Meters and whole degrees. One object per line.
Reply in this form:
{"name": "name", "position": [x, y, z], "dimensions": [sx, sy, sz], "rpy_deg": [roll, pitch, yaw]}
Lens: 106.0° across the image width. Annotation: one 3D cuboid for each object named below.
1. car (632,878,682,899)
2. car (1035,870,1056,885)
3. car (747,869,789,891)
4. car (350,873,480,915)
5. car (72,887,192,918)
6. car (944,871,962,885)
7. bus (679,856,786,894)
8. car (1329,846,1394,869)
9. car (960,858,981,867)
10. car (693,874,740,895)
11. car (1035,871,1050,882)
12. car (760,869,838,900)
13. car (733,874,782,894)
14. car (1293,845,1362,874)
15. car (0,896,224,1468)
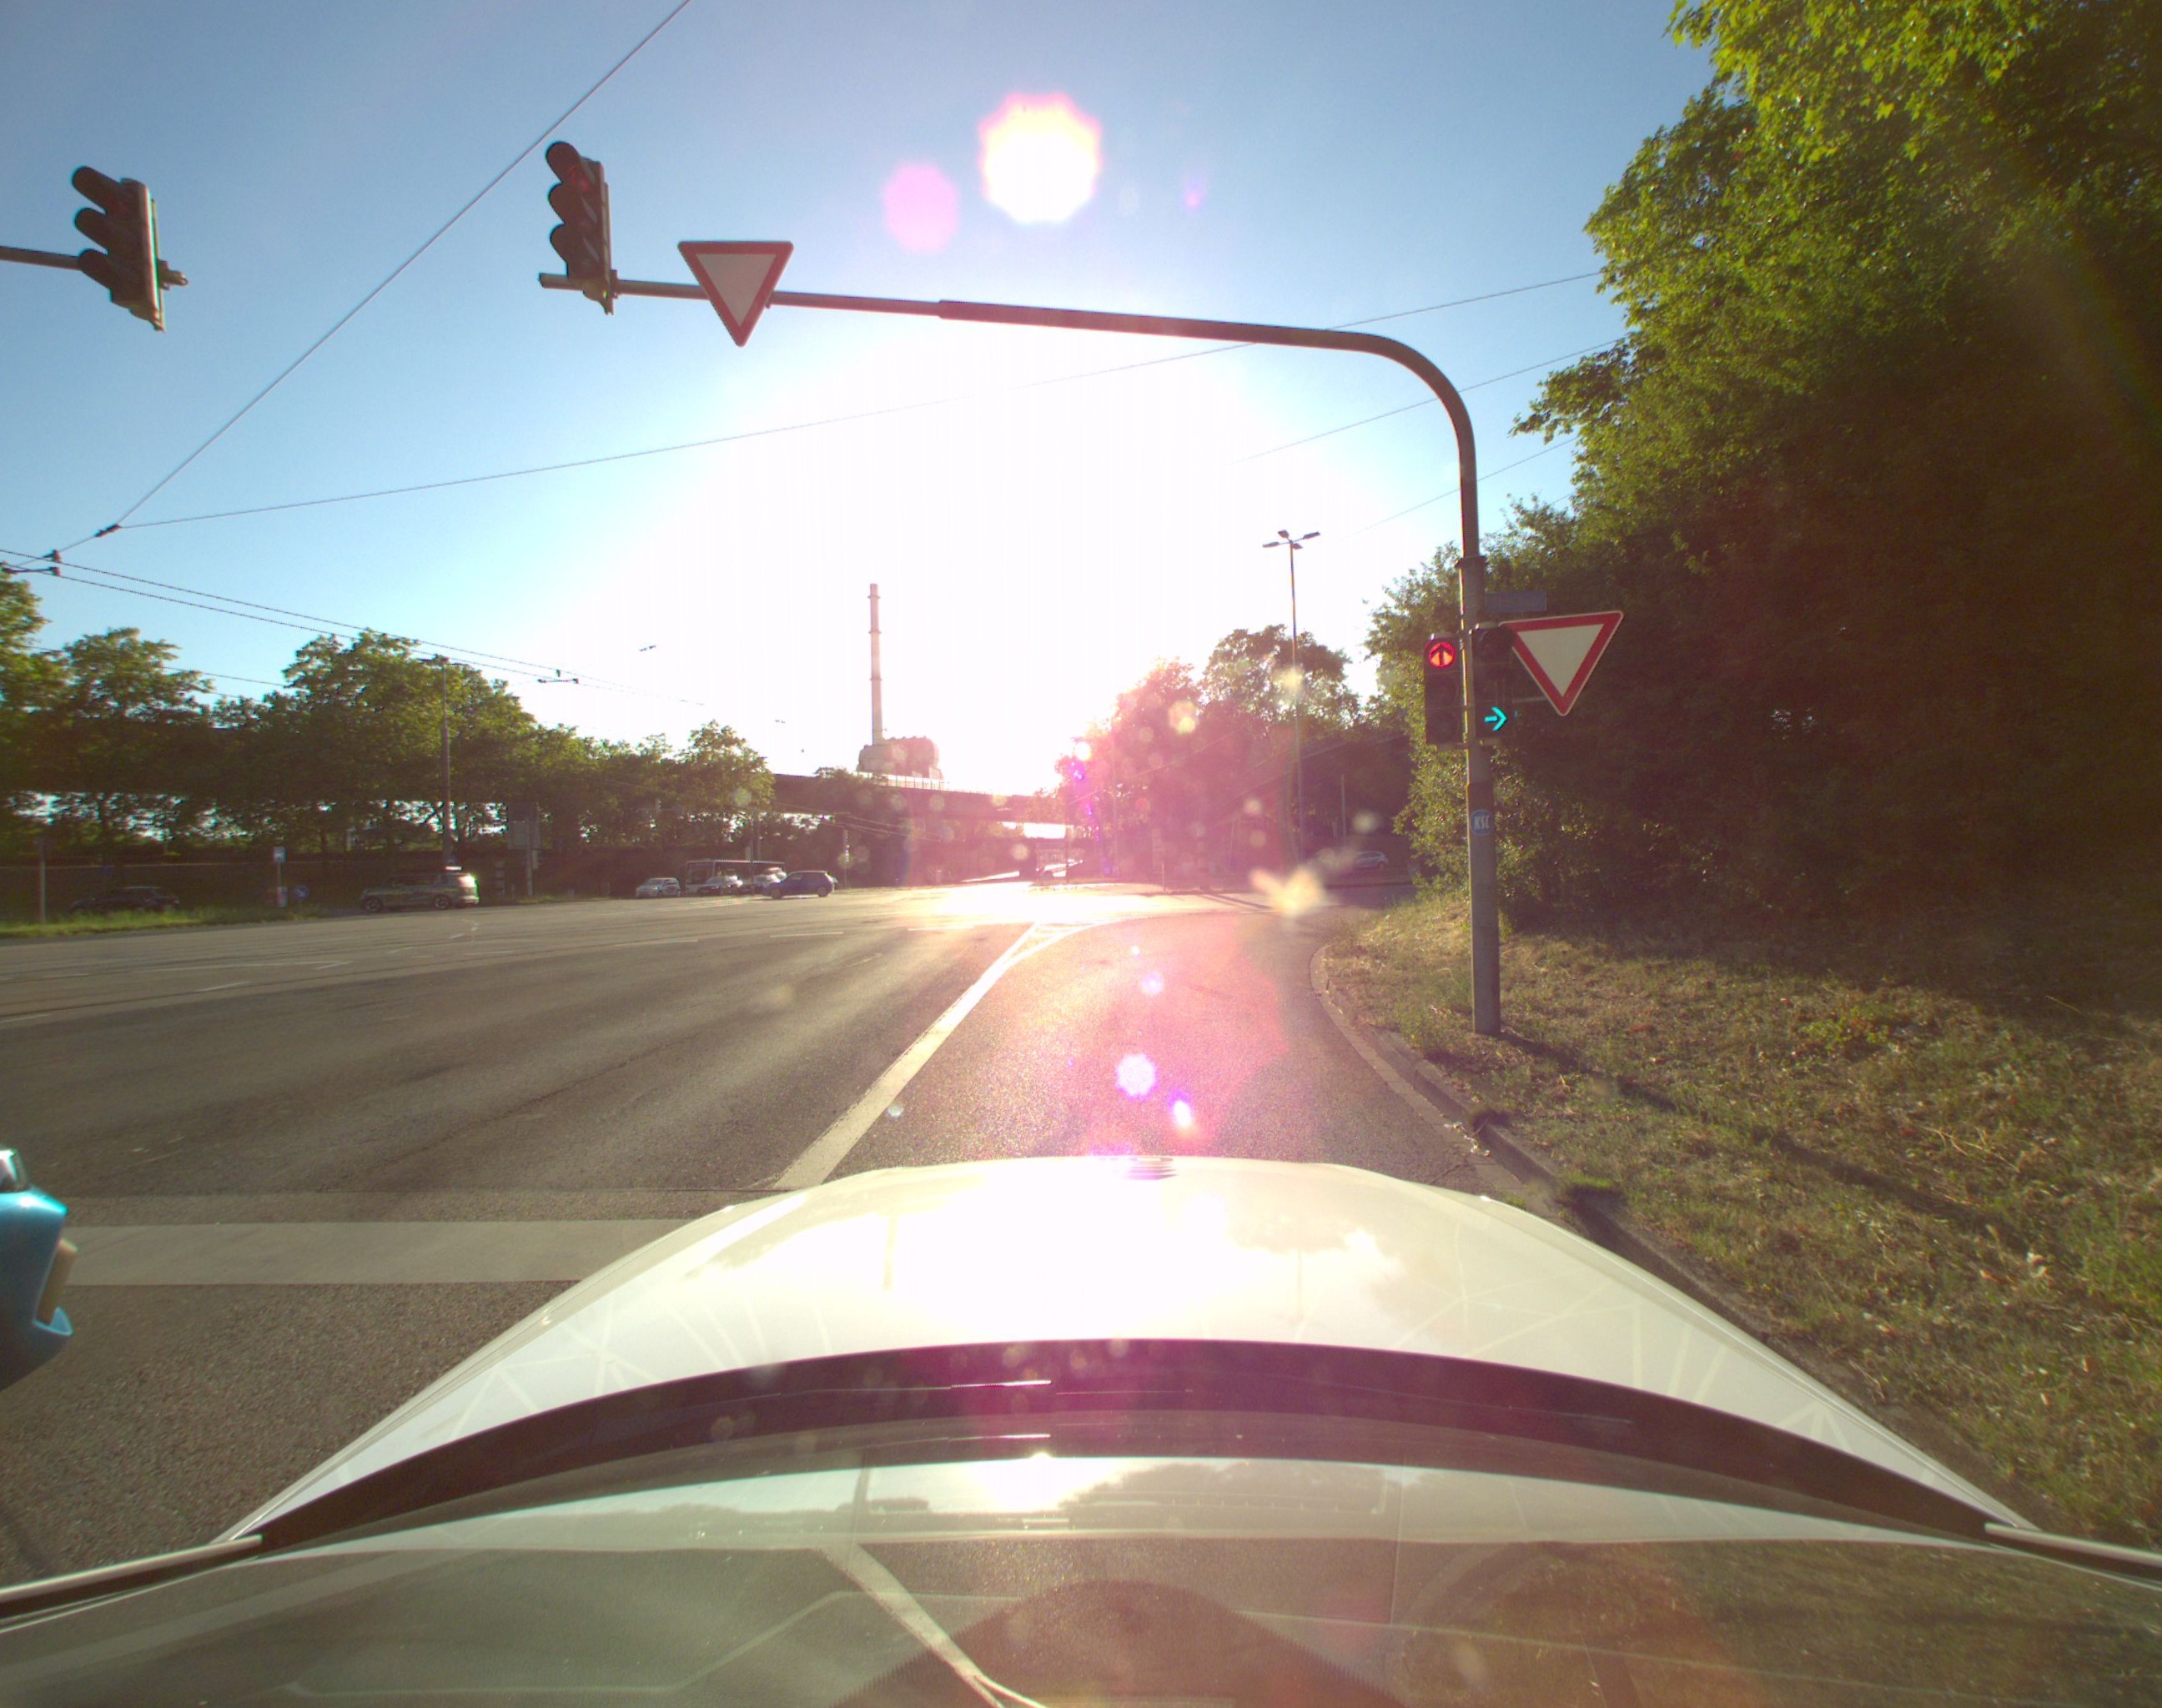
{"name": "car", "position": [-30.067, 2.398, 57.897], "dimensions": [1.599, 1.354, 3.733], "rpy_deg": [-1, -1, 0]}
{"name": "car", "position": [-4.031, 2.641, 92.484], "dimensions": [1.712, 1.652, 4.201], "rpy_deg": [-1, -1, -12]}
{"name": "car", "position": [-25.718, 2.101, 67.035], "dimensions": [1.704, 1.652, 4.097], "rpy_deg": [-1, -1, 2]}
{"name": "car", "position": [-33.860, 2.004, 41.546], "dimensions": [4.695, 1.905, 1.991], "rpy_deg": [-1, -1, -13]}
{"name": "car", "position": [-48.788, 2.463, 41.942], "dimensions": [3.723, 1.422, 1.690], "rpy_deg": [-1, -1, -11]}
{"name": "car", "position": [-16.350, 3.015, 103.954], "dimensions": [1.707, 1.652, 4.091], "rpy_deg": [-1, -1, -2]}
{"name": "bus", "position": [-29.542, 1.723, 69.952], "dimensions": [2.810, 2.954, 12.865], "rpy_deg": [-1, -1, 4]}
{"name": "car", "position": [21.024, 0.279, 61.103], "dimensions": [4.367, 1.609, 1.846], "rpy_deg": [-1, -1, -17]}
{"name": "car", "position": [-22.493, 1.691, 165.706], "dimensions": [1.974, 1.771, 4.025], "rpy_deg": [-1, -1, 34]}
{"name": "car", "position": [-26.365, 2.179, 59.012], "dimensions": [1.599, 1.354, 3.999], "rpy_deg": [-1, -1, 0]}
{"name": "car", "position": [-5.520, 3.258, 117.152], "dimensions": [1.685, 1.422, 4.153], "rpy_deg": [-1, -1, 2]}
{"name": "car", "position": [-15.812, 1.689, 45.821], "dimensions": [3.927, 1.559, 1.991], "rpy_deg": [-1, -1, -14]}
{"name": "car", "position": [-23.529, 2.156, 59.385], "dimensions": [1.704, 1.354, 4.097], "rpy_deg": [-1, -1, 2]}
{"name": "car", "position": [16.801, 0.351, 55.600], "dimensions": [4.139, 1.867, 1.848], "rpy_deg": [-1, -1, -14]}
{"name": "car", "position": [-3.599, 0.833, 0.322], "dimensions": [1.779, 1.417, 4.510], "rpy_deg": [-1, -1, -1]}
